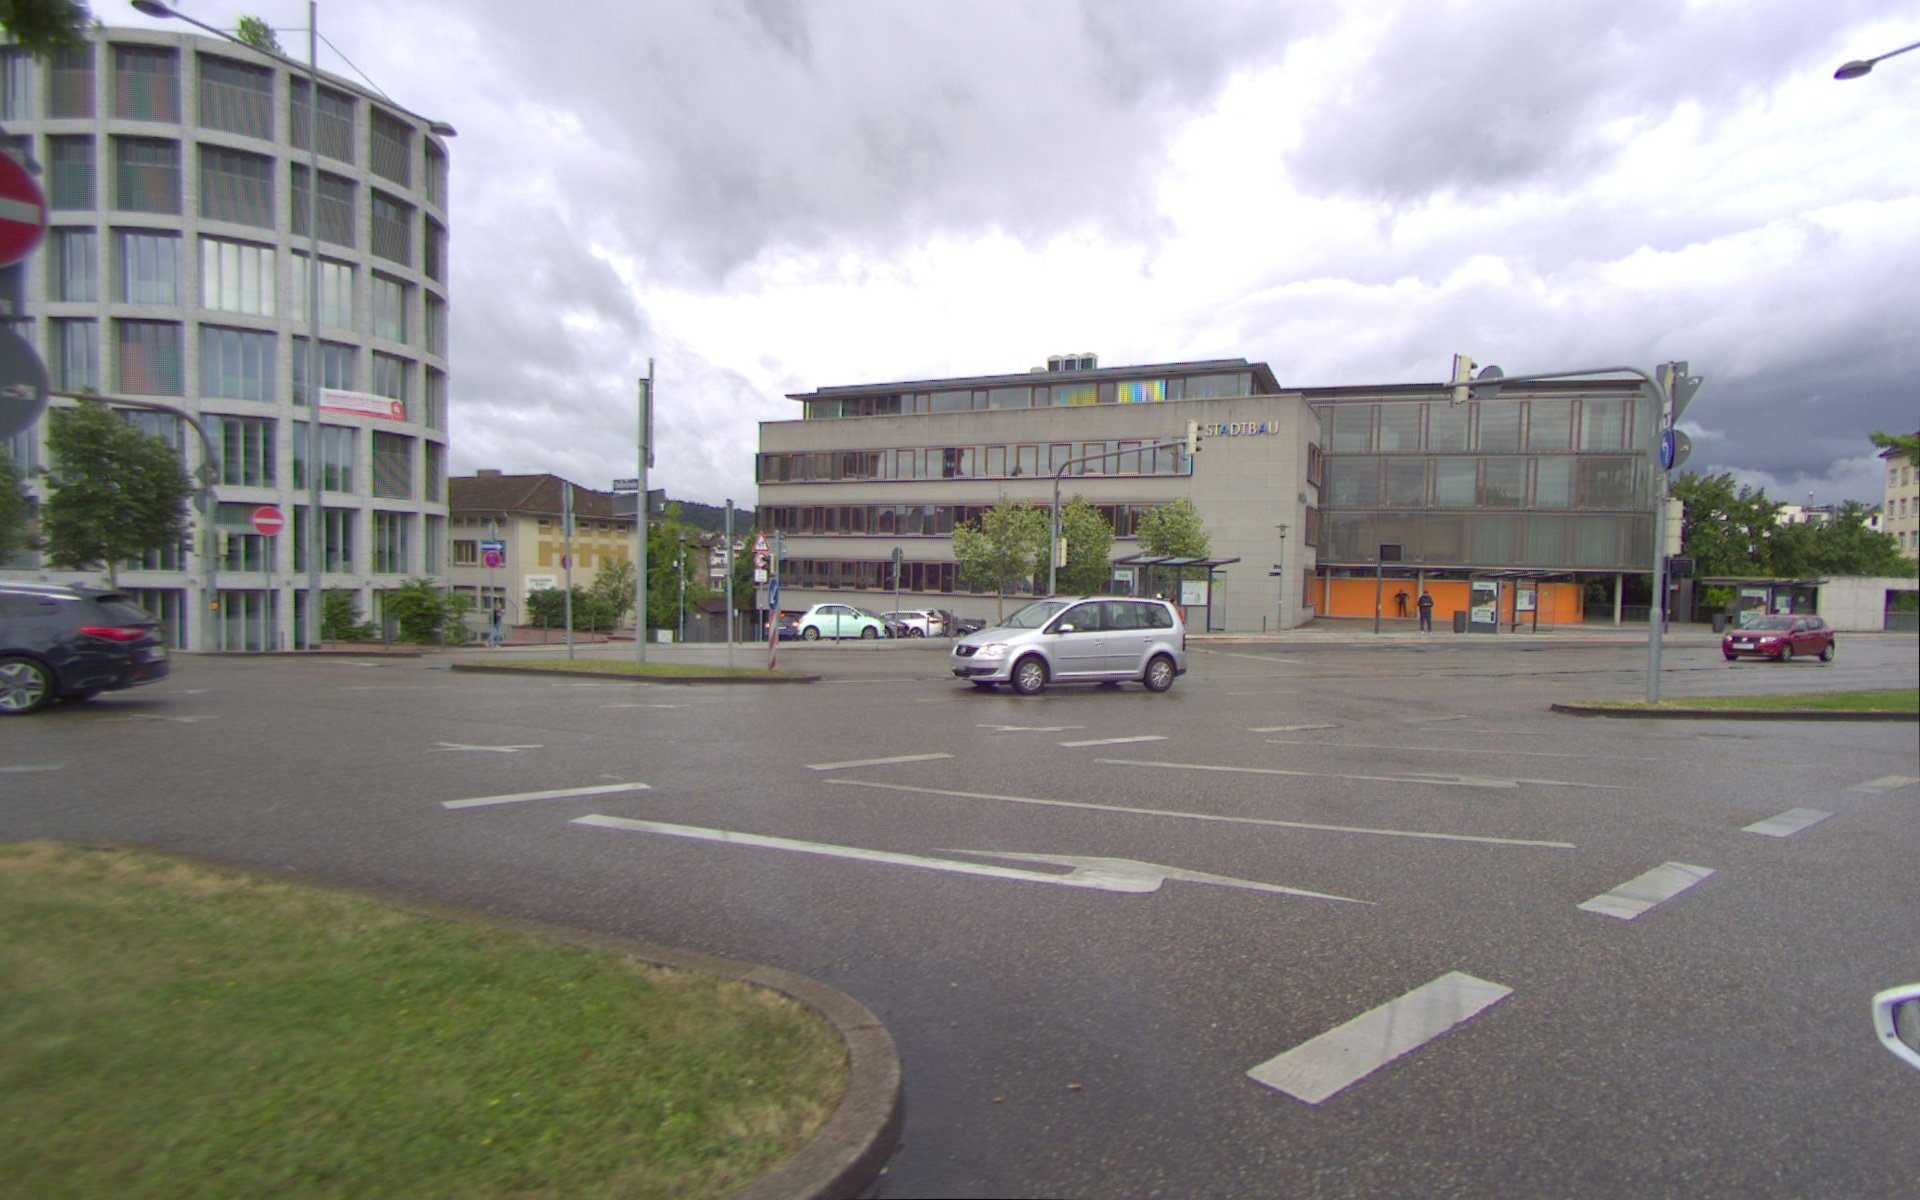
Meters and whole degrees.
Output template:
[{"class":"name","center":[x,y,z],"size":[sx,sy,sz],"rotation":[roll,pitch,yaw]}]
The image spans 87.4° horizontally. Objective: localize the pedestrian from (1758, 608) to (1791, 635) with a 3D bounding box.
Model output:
[{"class":"pedestrian","center":[42.922,1.123,52.962],"size":[0.833,1.285,0.978],"rotation":[1,4,-4]}]

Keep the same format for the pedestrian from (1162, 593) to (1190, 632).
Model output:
[{"class":"pedestrian","center":[7.926,0.469,36.907],"size":[0.712,1.411,0.675],"rotation":[1,1,-27]}]

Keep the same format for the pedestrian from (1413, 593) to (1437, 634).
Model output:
[{"class":"pedestrian","center":[19.407,0.550,41.916],"size":[0.751,1.706,0.473],"rotation":[1,0,-19]}]

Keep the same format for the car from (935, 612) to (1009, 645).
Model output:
[{"class":"car","center":[0.573,1.410,50.532],"size":[3.516,1.515,1.631],"rotation":[1,1,-7]}]

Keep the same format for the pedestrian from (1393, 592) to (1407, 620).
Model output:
[{"class":"pedestrian","center":[26.782,0.346,61.114],"size":[0.630,1.706,0.476],"rotation":[1,0,6]}]

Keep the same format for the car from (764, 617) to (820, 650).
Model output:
[{"class":"car","center":[-7.809,1.532,46.927],"size":[1.453,1.369,3.584],"rotation":[2,0,9]}]

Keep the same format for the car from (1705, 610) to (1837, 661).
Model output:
[{"class":"car","center":[26.832,1.149,33.237],"size":[3.977,1.573,1.817],"rotation":[1,0,-25]}]

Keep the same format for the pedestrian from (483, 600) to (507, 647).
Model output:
[{"class":"pedestrian","center":[-16.296,0.817,35.181],"size":[0.696,1.604,0.668],"rotation":[2,1,-28]}]

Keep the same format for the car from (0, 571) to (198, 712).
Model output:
[{"class":"car","center":[-11.772,0.412,11.231],"size":[4.852,1.524,1.842],"rotation":[1,1,-25]}]

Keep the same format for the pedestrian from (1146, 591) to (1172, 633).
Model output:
[{"class":"pedestrian","center":[7.261,0.433,36.606],"size":[0.618,1.488,0.675],"rotation":[1,1,-27]}]

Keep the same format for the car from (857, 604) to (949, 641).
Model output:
[{"class":"car","center":[-2.526,0.982,44.814],"size":[3.711,1.515,1.766],"rotation":[1,0,13]}]

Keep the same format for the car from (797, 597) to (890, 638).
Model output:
[{"class":"car","center":[-4.597,0.684,39.451],"size":[3.518,1.515,1.630],"rotation":[1,0,-10]}]

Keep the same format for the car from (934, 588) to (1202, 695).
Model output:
[{"class":"car","center":[1.920,0.688,17.612],"size":[4.362,1.674,1.840],"rotation":[1,1,-27]}]

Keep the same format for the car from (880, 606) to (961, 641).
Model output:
[{"class":"car","center":[-1.854,1.099,47.424],"size":[3.509,1.515,1.634],"rotation":[1,0,13]}]

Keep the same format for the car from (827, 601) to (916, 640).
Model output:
[{"class":"car","center":[-3.671,0.843,41.575],"size":[3.518,1.515,1.630],"rotation":[1,0,-10]}]
